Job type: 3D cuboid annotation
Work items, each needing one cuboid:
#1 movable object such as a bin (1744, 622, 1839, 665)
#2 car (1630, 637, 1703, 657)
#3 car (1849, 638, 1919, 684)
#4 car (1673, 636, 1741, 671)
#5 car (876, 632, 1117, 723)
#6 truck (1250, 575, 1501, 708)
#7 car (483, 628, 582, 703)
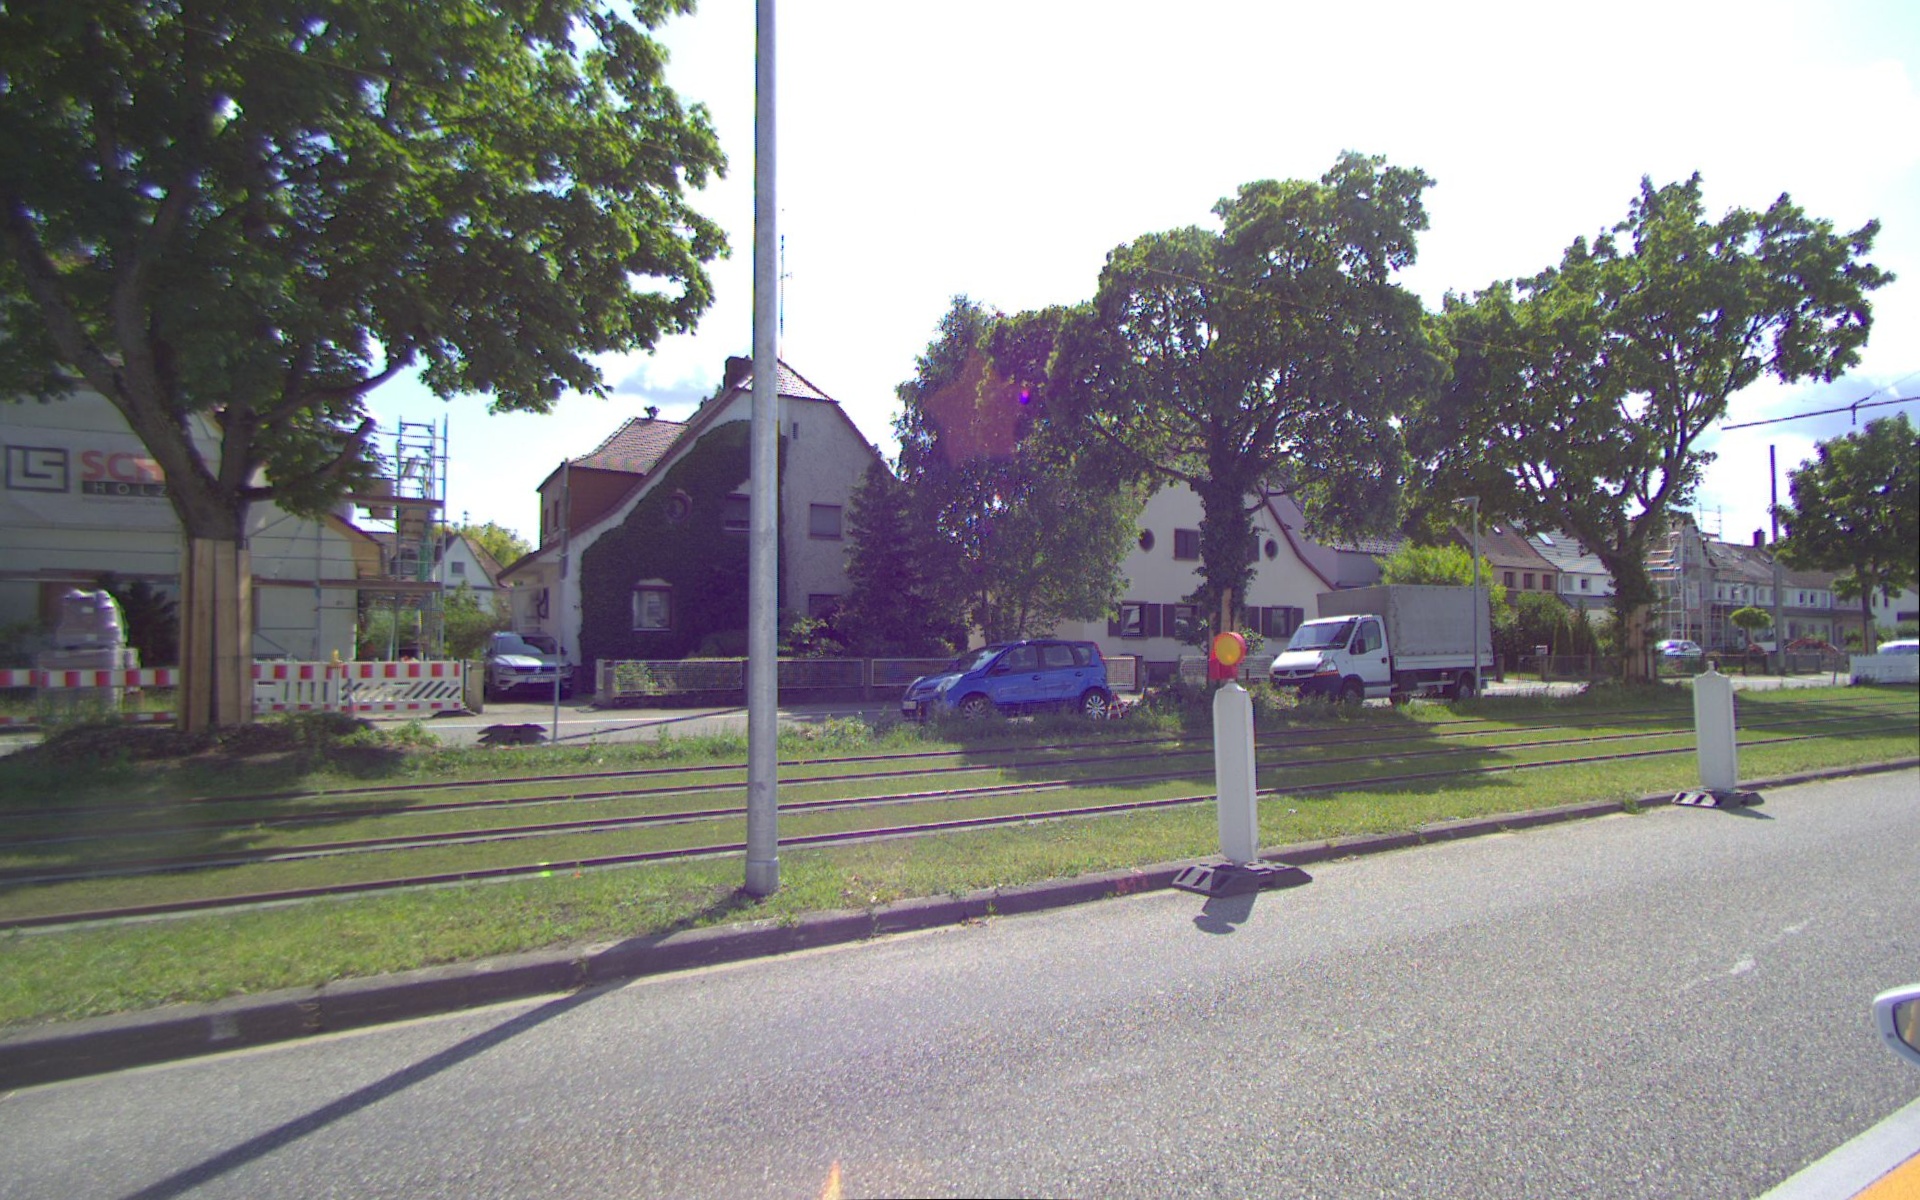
[{"bbox_3d":[49.811,2.612,60.268,4.284,2.481,1.781,-2,-3,39],"label":"movable object such as a bin"},{"bbox_3d":[38.700,2.592,55.018,3.931,1.066,1.678,2,-4,-28],"label":"car"},{"bbox_3d":[37.707,2.438,40.206,3.953,1.772,1.985,2,-4,-30],"label":"car"},{"bbox_3d":[37.733,2.703,50.714,2.994,1.744,1.677,2,-4,-30],"label":"car"},{"bbox_3d":[0.688,1.370,18.192,3.956,1.472,1.983,2,-4,-32],"label":"car"},{"bbox_3d":[9.833,0.999,23.585,6.202,2.803,1.985,1,-5,-30],"label":"truck"},{"bbox_3d":[-10.716,1.613,25.051,1.851,1.706,3.631,2,-4,-30],"label":"car"}]
